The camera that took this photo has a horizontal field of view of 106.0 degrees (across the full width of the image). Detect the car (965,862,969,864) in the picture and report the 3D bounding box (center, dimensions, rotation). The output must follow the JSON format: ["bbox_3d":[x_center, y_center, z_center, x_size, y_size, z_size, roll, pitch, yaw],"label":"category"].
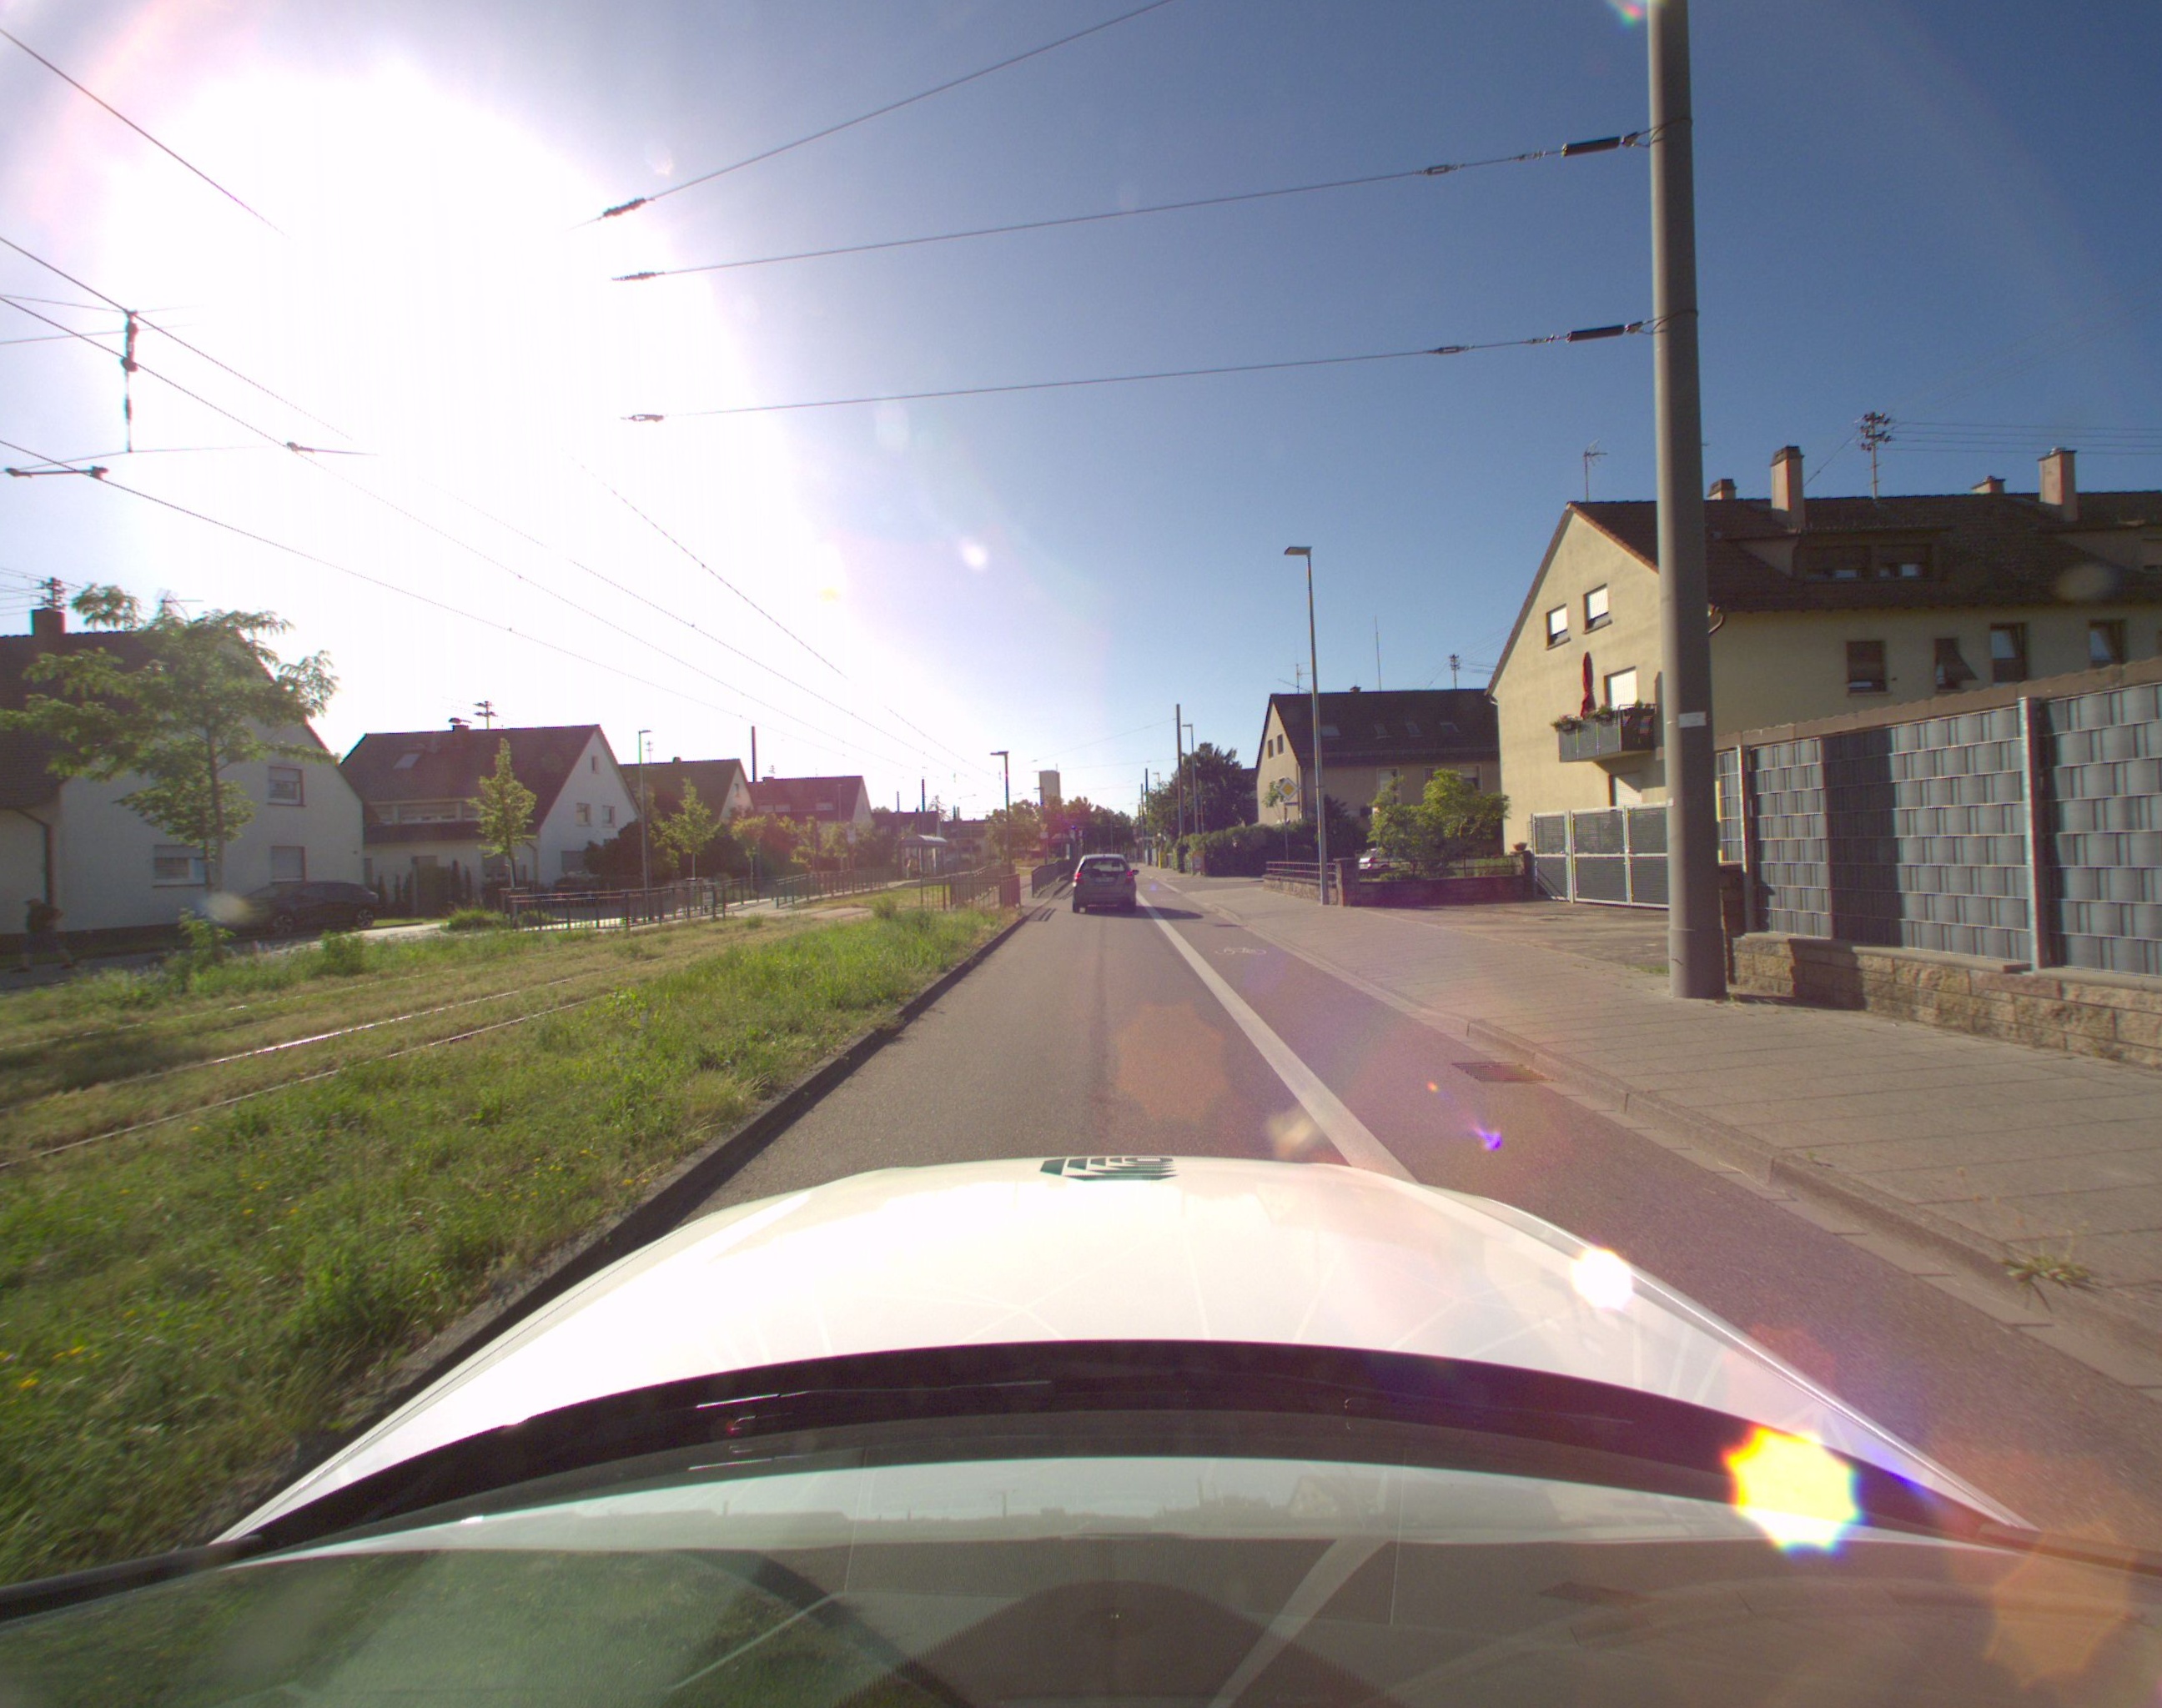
[{"bbox_3d":[-20.342,1.660,145.475,0.695,0.336,0.330,-1,-1,6],"label":"car"}]

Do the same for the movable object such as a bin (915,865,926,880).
[{"bbox_3d":[-10.611,1.215,53.857,0.545,0.988,0.741,-3,0,-3],"label":"movable object such as a bin"}]

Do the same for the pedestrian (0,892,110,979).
[{"bbox_3d":[-21.080,1.642,16.704,0.961,1.640,1.086,-3,0,1],"label":"pedestrian"}]

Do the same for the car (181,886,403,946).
[{"bbox_3d":[-24.975,1.911,26.145,1.927,1.450,5.164,-3,0,2],"label":"car"}]

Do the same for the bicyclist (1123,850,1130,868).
[{"bbox_3d":[4.270,0.489,76.650,0.596,1.701,0.684,-1,-1,2],"label":"bicyclist"}]

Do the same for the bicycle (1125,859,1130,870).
[{"bbox_3d":[4.393,0.984,76.817,0.473,0.961,1.657,-1,-1,2],"label":"bicycle"}]

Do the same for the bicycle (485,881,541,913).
[{"bbox_3d":[-26.196,1.986,37.586,1.985,1.365,0.703,-3,0,-6],"label":"bicycle"}]

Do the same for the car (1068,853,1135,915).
[{"bbox_3d":[0.539,0.768,22.350,1.665,1.536,3.487,-1,0,1],"label":"car"}]

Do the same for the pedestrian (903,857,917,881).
[{"bbox_3d":[-11.288,0.961,53.777,0.673,1.535,0.748,-3,0,-3],"label":"pedestrian"}]

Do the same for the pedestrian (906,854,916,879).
[{"bbox_3d":[-11.557,0.844,55.316,0.518,1.708,0.580,-3,0,-3],"label":"pedestrian"}]

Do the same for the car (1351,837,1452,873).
[{"bbox_3d":[15.423,0.058,39.280,4.131,1.511,1.799,-3,-2,-4],"label":"car"}]

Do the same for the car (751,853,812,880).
[{"bbox_3d":[-23.034,0.942,62.733,3.982,1.970,1.929,-1,-1,-7],"label":"car"}]

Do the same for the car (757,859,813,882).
[{"bbox_3d":[-23.712,1.316,65.415,3.840,1.806,1.795,-1,-1,-7],"label":"car"}]
